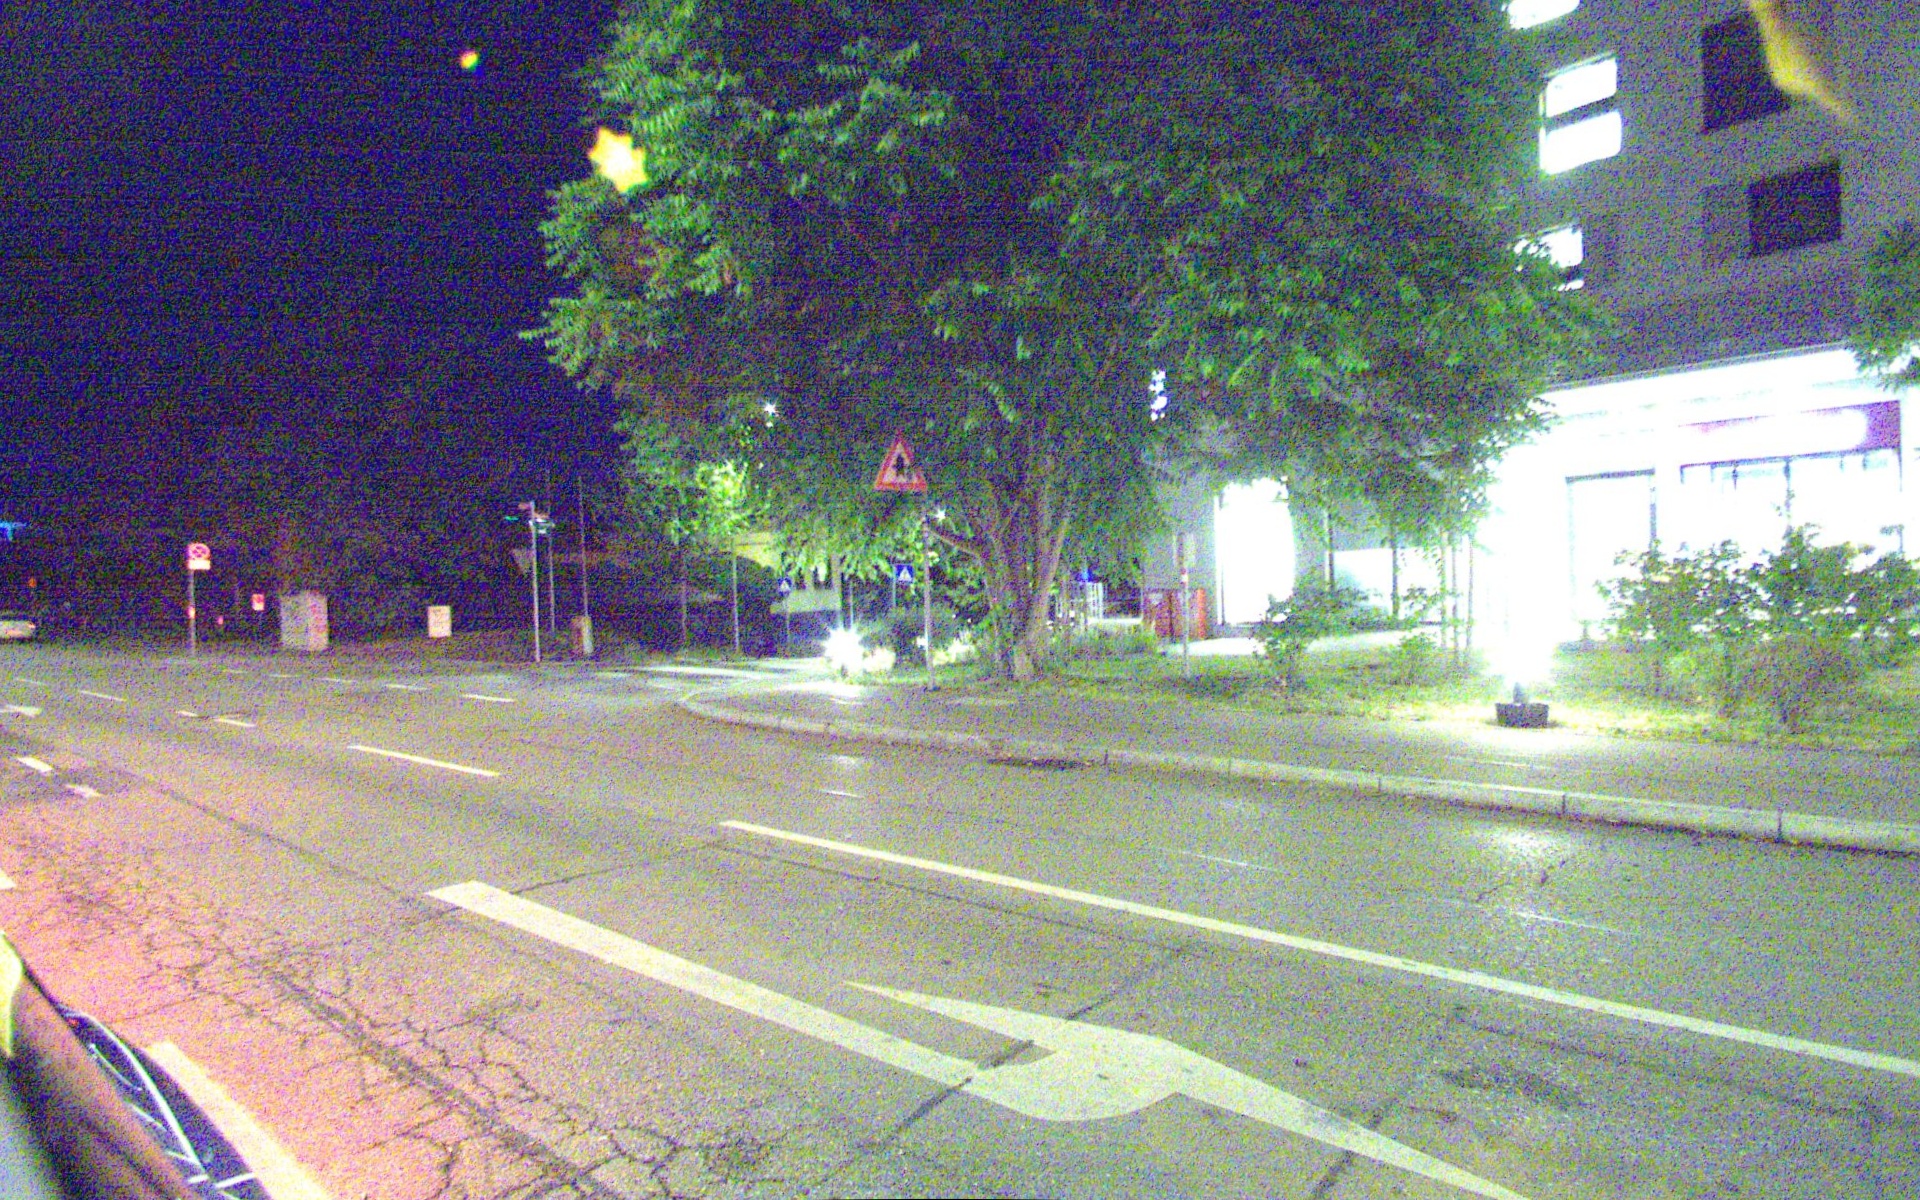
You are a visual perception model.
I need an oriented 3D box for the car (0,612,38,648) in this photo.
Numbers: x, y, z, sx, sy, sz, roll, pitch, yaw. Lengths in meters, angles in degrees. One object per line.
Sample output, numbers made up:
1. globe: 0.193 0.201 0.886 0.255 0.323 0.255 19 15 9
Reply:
1. car: -43.281 1.322 45.787 3.998 1.464 1.887 1 2 41
